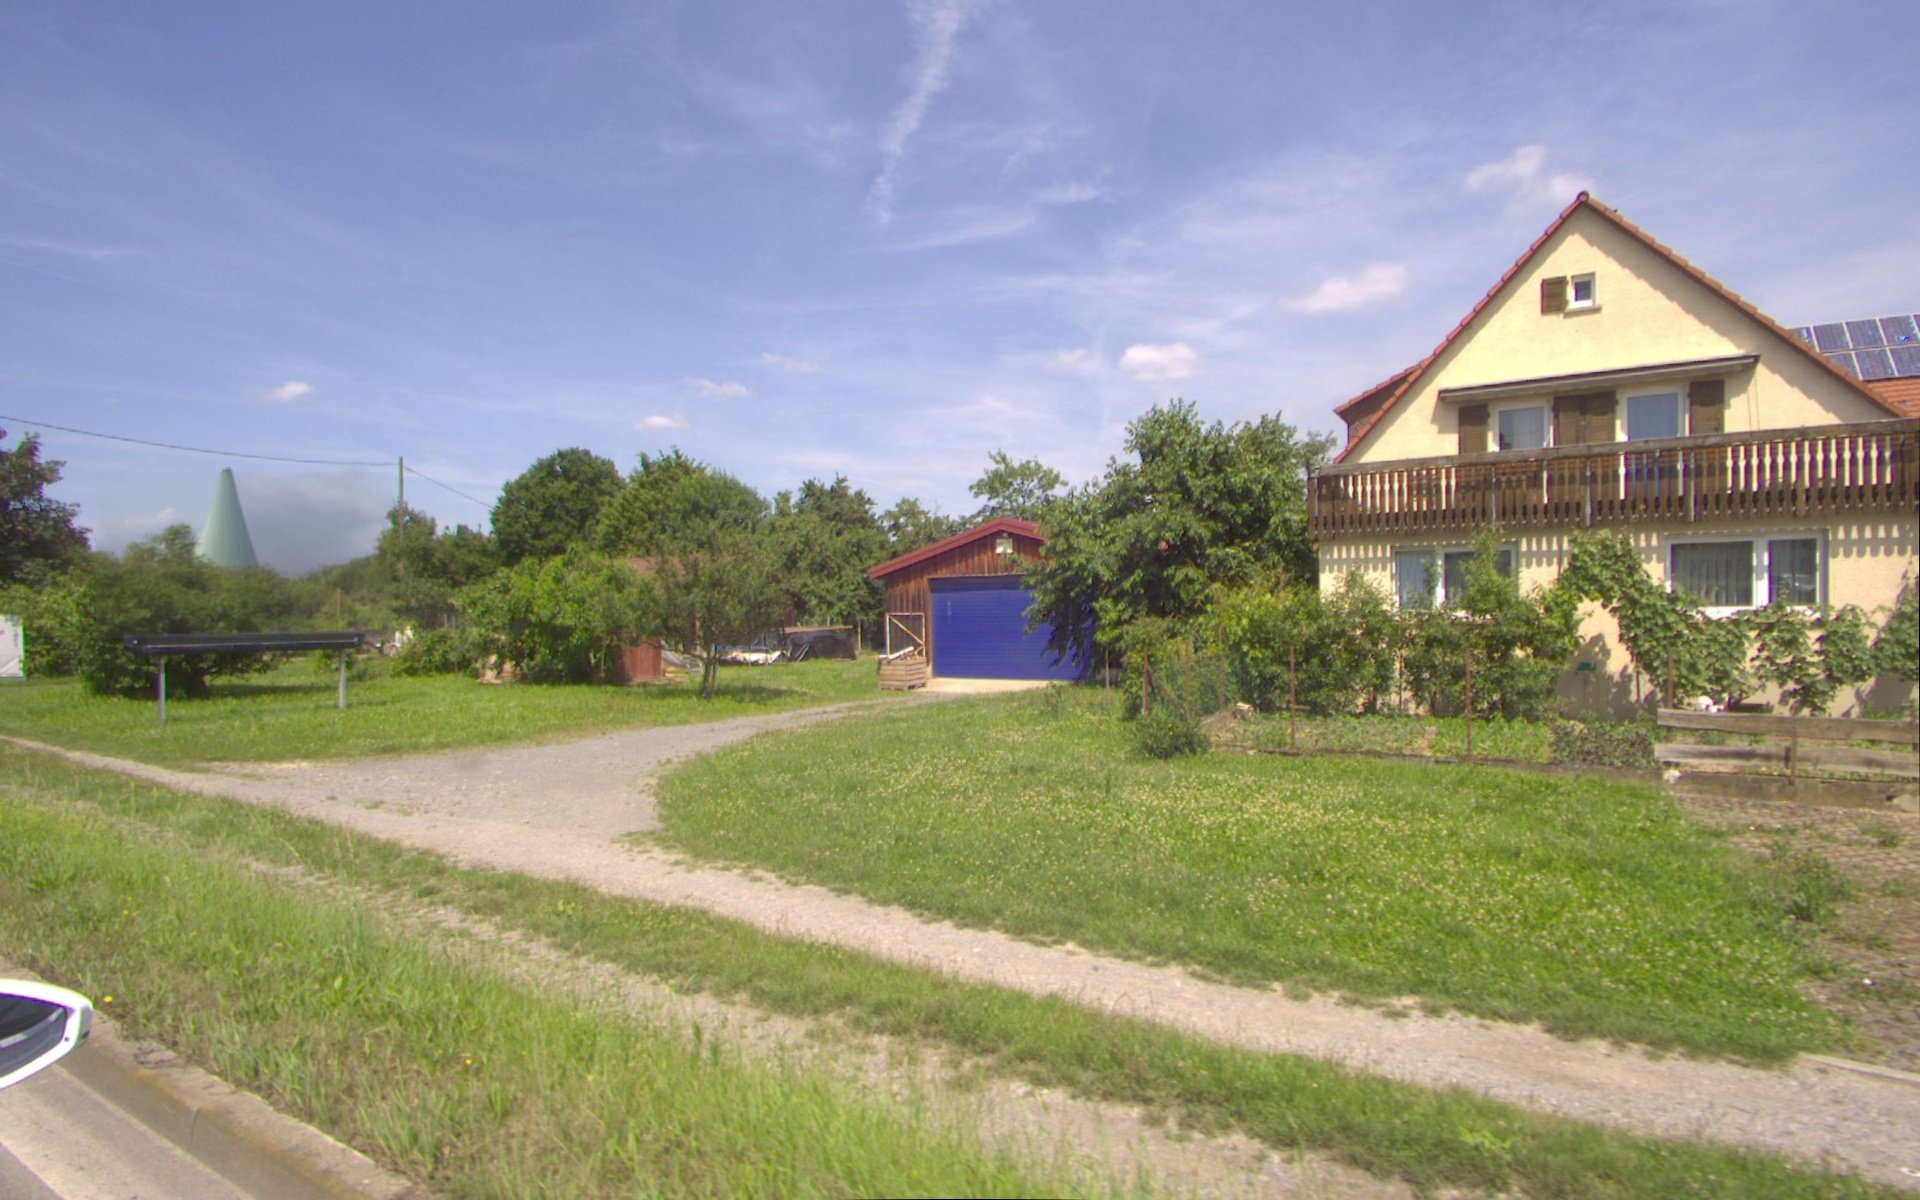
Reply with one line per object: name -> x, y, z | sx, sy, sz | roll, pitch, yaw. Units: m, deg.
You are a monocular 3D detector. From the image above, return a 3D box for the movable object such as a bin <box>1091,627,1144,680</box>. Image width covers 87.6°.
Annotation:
movable object such as a bin -> 4.452, 1.492, 28.223 | 1.049, 1.415, 1.271 | 0, -1, 34

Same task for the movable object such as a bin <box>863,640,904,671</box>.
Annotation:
movable object such as a bin -> -2.617, 1.891, 34.346 | 1.045, 1.046, 1.040 | 0, -1, 19

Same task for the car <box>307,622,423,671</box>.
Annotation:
car -> -26.243, 2.026, 44.234 | 1.976, 2.039, 3.970 | 0, -2, 40
